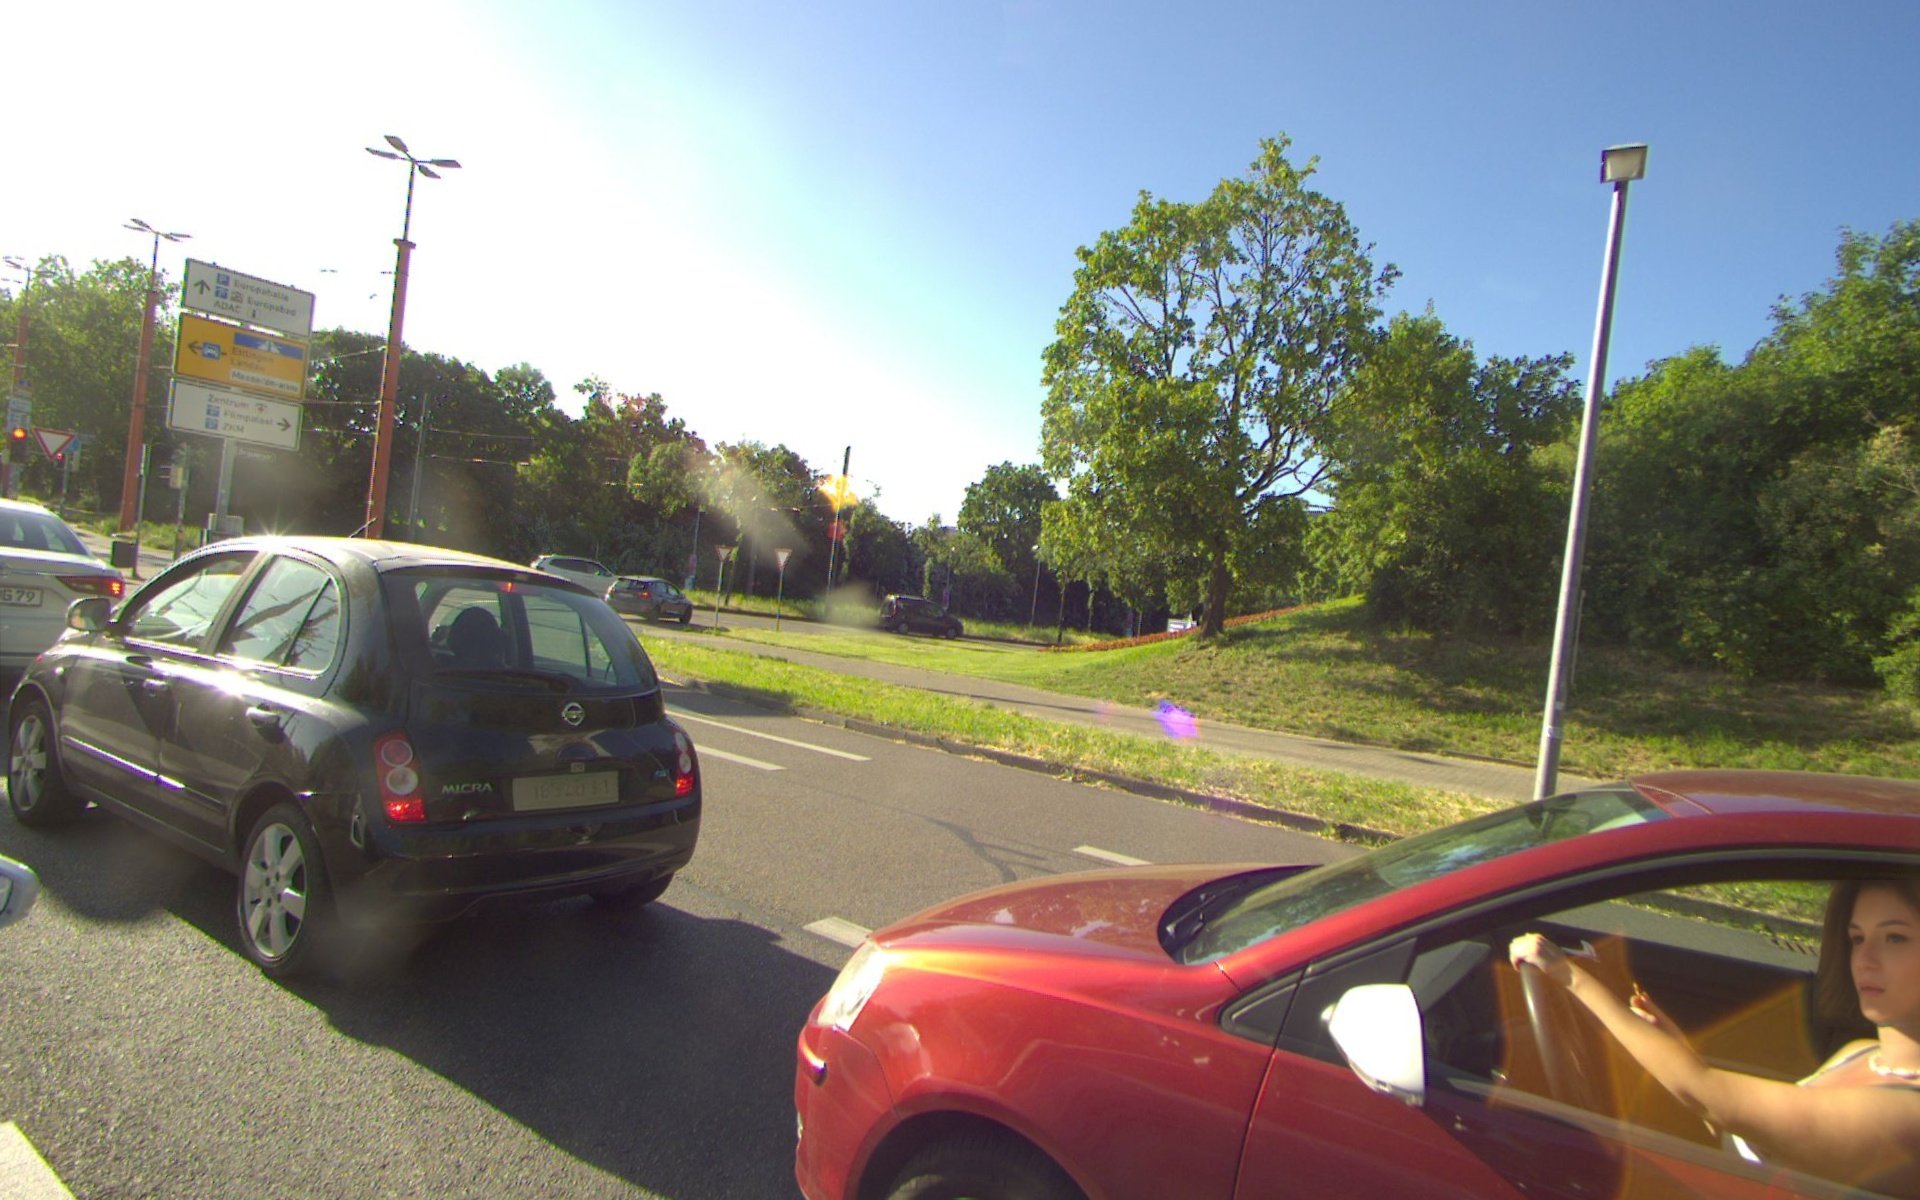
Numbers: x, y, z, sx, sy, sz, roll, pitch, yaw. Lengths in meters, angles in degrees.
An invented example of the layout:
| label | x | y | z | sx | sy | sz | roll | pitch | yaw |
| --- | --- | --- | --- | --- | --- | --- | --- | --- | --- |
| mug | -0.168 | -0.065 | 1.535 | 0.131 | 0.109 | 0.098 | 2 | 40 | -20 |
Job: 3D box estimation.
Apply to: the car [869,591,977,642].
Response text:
| label | x | y | z | sx | sy | sz | roll | pitch | yaw |
| --- | --- | --- | --- | --- | --- | --- | --- | --- | --- |
| car | -1.803 | 0.811 | 49.128 | 4.740 | 1.858 | 1.901 | 8 | -1 | -27 |

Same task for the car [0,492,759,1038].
| label | x | y | z | sx | sy | sz | roll | pitch | yaw |
| --- | --- | --- | --- | --- | --- | --- | --- | --- | --- |
| car | -2.821 | 0.467 | 4.628 | 3.457 | 1.524 | 1.558 | 7 | 0 | 32 |

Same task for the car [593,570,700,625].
| label | x | y | z | sx | sy | sz | roll | pitch | yaw |
| --- | --- | --- | --- | --- | --- | --- | --- | --- | --- |
| car | -10.451 | -0.040 | 33.810 | 1.718 | 1.486 | 3.895 | 7 | -1 | 10 |

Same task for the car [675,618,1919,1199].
| label | x | y | z | sx | sy | sz | roll | pitch | yaw |
| --- | --- | --- | --- | --- | --- | --- | --- | --- | --- |
| car | 1.371 | 0.993 | 1.897 | 3.634 | 1.434 | 1.624 | 7 | -1 | 34 |

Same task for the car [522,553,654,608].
| label | x | y | z | sx | sy | sz | roll | pitch | yaw |
| --- | --- | --- | --- | --- | --- | --- | --- | --- | --- |
| car | -15.234 | -0.782 | 41.222 | 4.743 | 1.617 | 1.900 | 8 | -1 | -29 |

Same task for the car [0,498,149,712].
| label | x | y | z | sx | sy | sz | roll | pitch | yaw |
| --- | --- | --- | --- | --- | --- | --- | --- | --- | --- |
| car | -8.346 | -0.161 | 7.982 | 4.077 | 1.472 | 1.717 | 7 | -1 | 33 |
